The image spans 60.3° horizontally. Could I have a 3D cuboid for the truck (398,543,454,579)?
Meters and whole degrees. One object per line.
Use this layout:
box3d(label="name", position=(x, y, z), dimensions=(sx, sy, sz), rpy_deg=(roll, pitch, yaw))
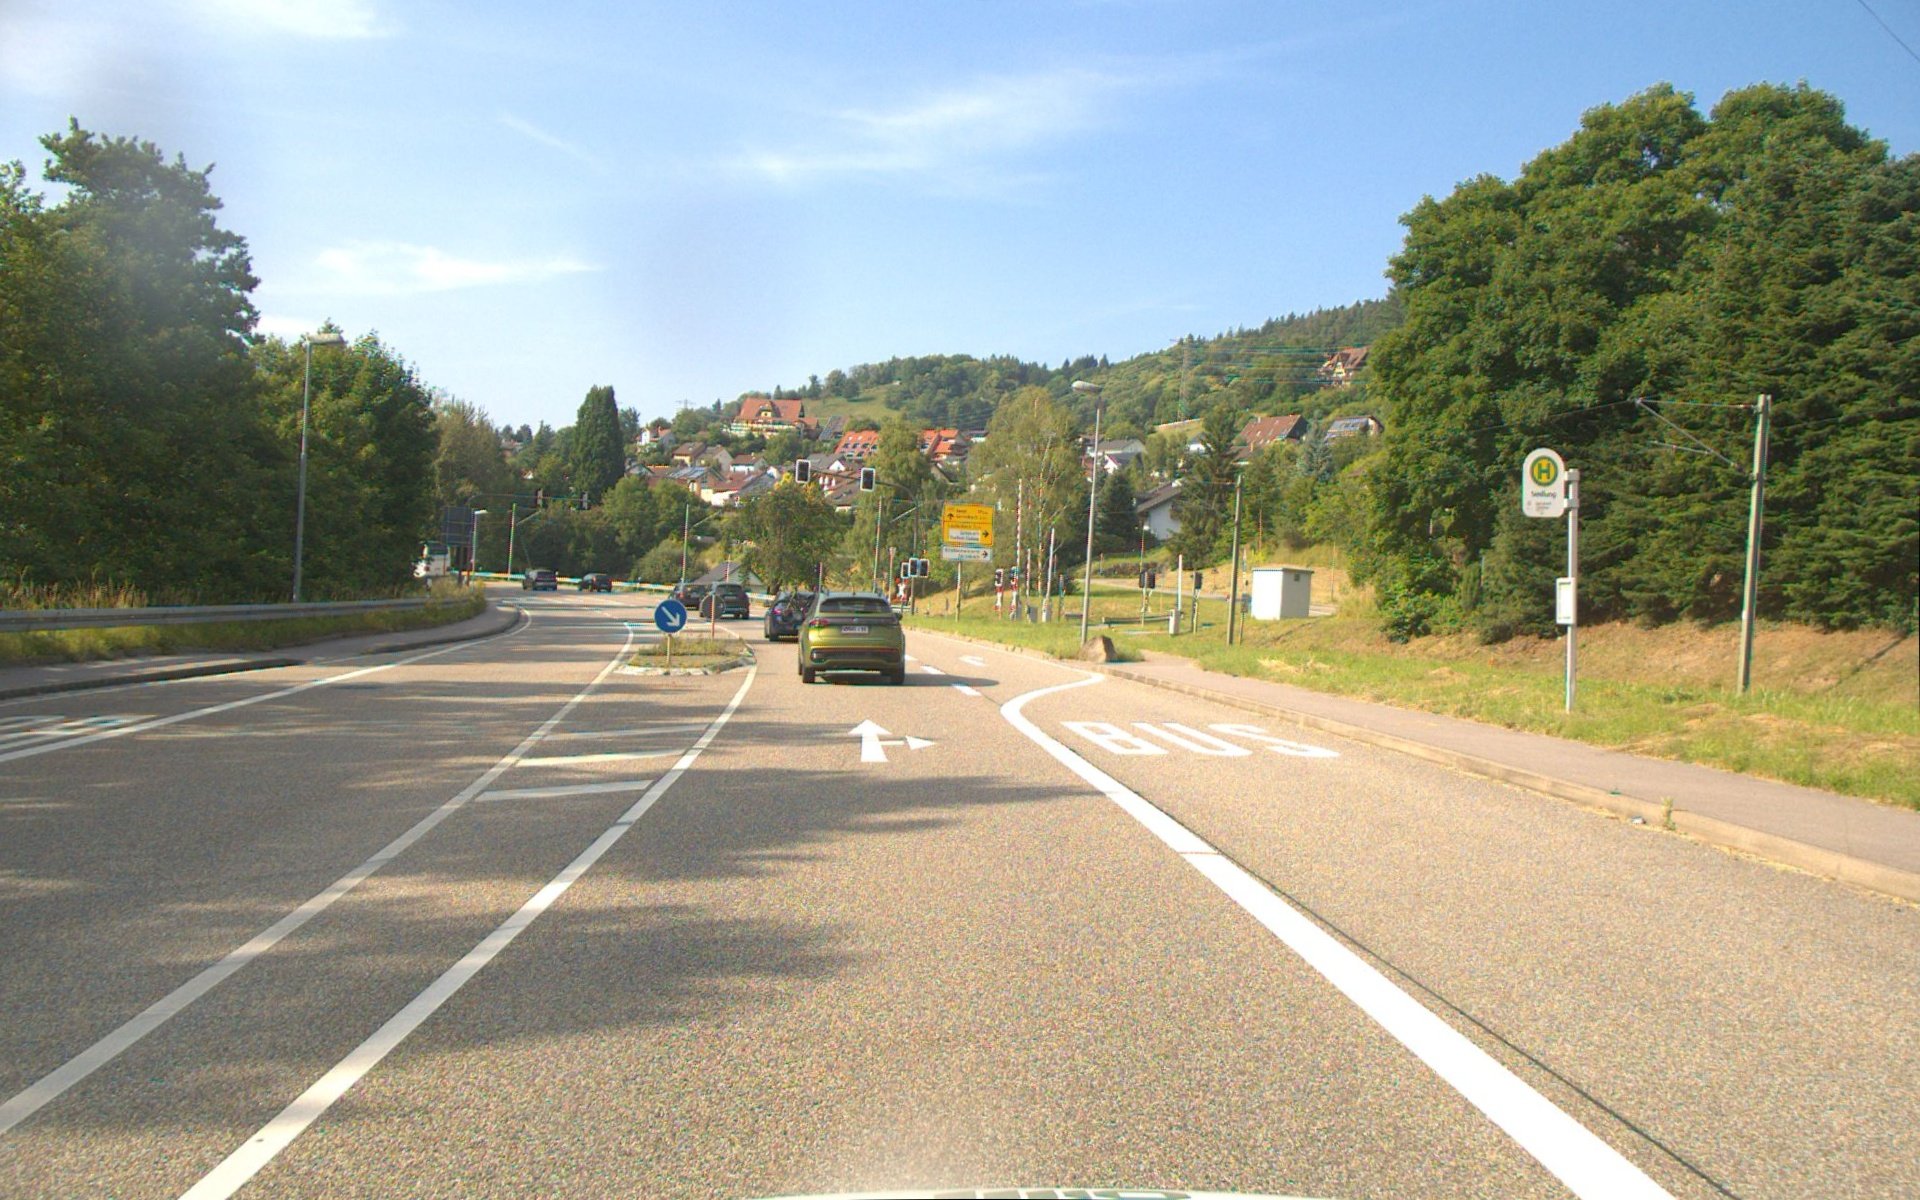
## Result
box3d(label="truck", position=(-50.635, -3.694, 156.811), dimensions=(2.697, 3.137, 6.016), rpy_deg=(3, 0, -42))

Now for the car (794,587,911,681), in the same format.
box3d(label="car", position=(-1.912, 0.541, 28.461), dimensions=(1.683, 1.480, 3.993), rpy_deg=(0, 1, -8))

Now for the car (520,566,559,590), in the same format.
box3d(label="car", position=(-33.870, -1.794, 133.289), dimensions=(2.041, 1.843, 3.960), rpy_deg=(1, 1, -30))

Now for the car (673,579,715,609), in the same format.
box3d(label="car", position=(-14.361, -0.329, 89.205), dimensions=(1.819, 1.553, 3.646), rpy_deg=(0, 1, -16))

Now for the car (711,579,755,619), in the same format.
box3d(label="car", position=(-10.279, -0.048, 74.672), dimensions=(1.845, 1.716, 3.992), rpy_deg=(1, 0, -9))

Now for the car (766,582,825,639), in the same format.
box3d(label="car", position=(-4.855, 0.289, 48.426), dimensions=(1.635, 1.586, 3.994), rpy_deg=(1, 0, -7))

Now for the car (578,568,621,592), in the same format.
box3d(label="car", position=(-28.553, -1.602, 130.910), dimensions=(1.976, 1.775, 3.953), rpy_deg=(1, 0, -34))
